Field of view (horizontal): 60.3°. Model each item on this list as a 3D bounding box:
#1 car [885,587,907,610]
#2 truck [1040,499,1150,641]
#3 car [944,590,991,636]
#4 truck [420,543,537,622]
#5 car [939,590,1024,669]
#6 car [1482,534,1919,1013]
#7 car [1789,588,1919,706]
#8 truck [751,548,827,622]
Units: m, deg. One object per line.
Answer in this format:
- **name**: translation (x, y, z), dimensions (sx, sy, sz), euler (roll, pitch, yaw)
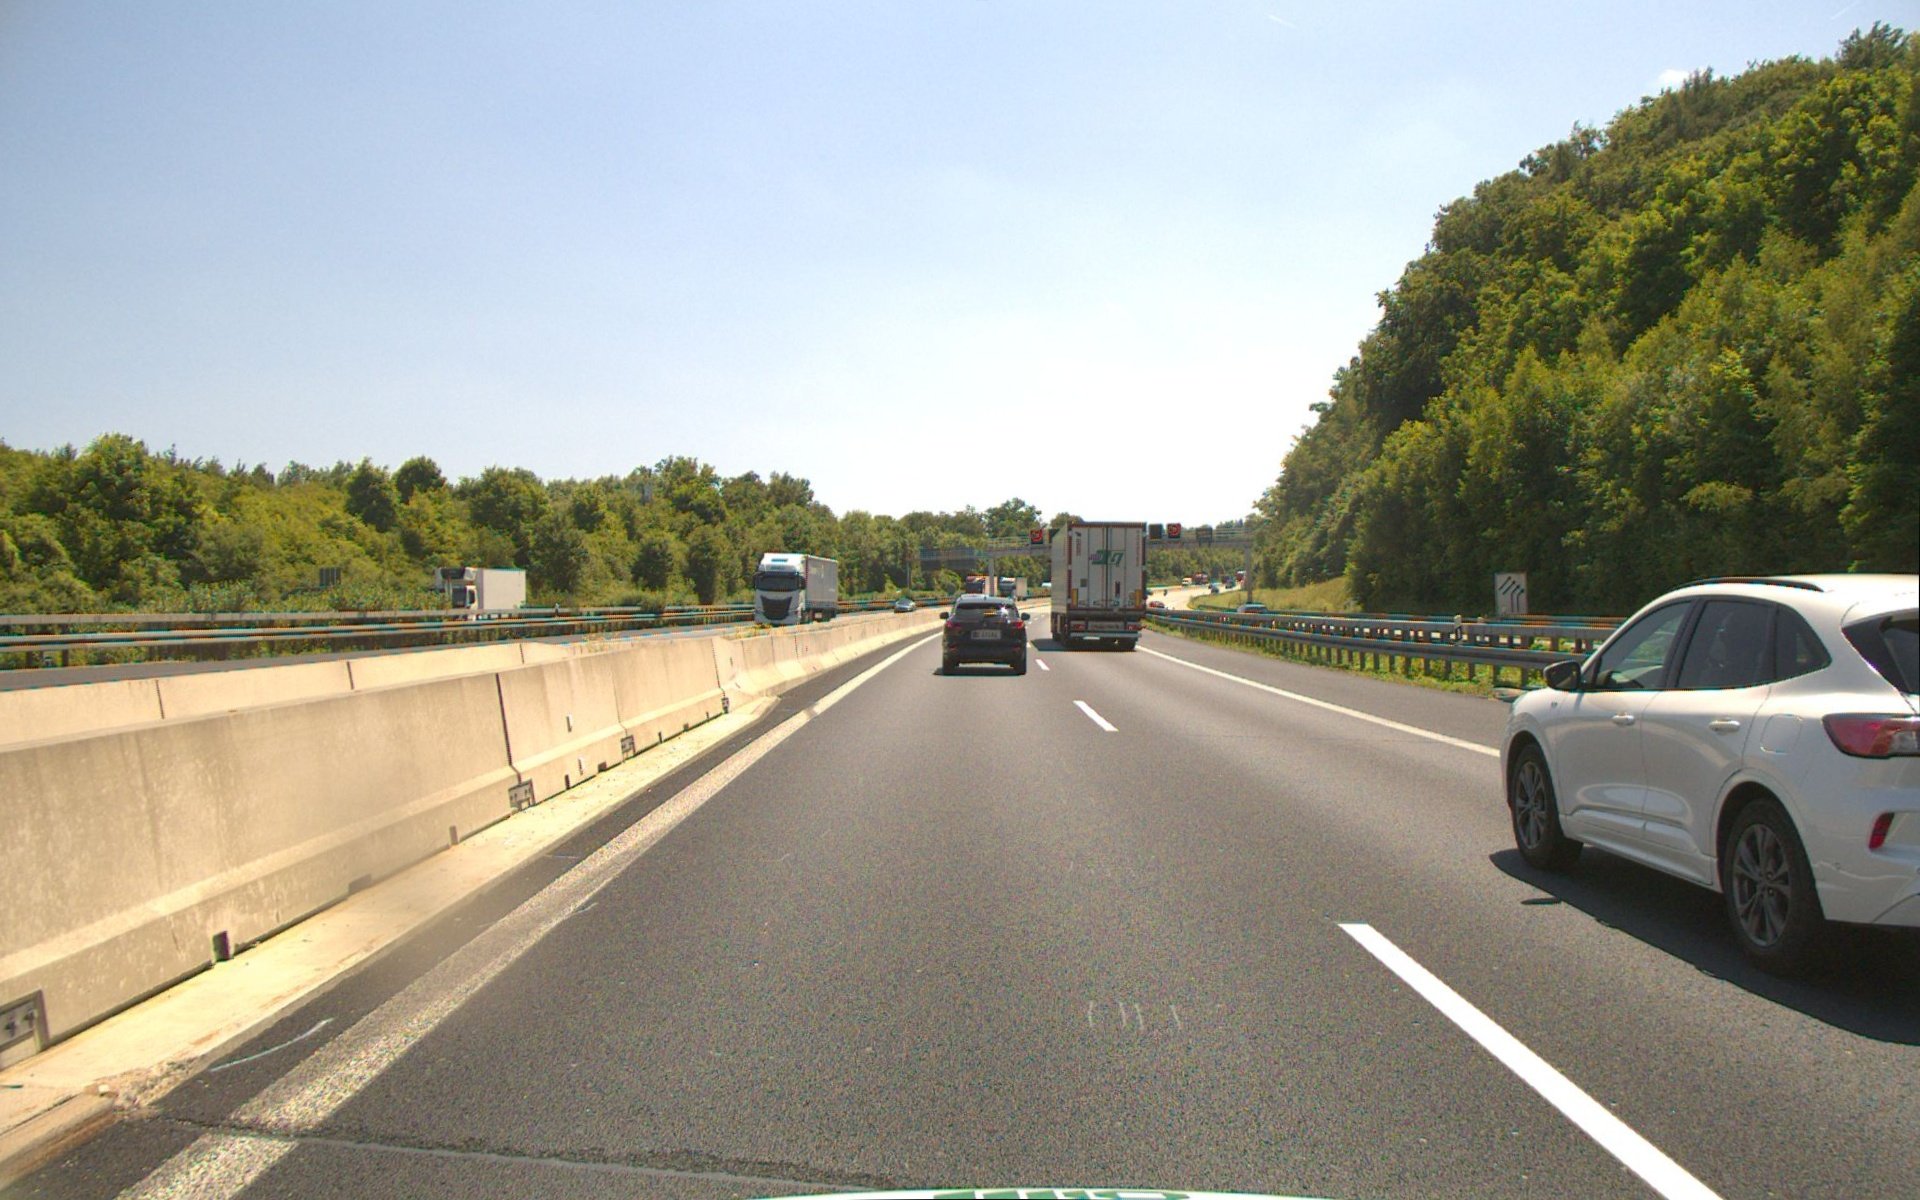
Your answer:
- **car**: translation (-5.923, -0.125, 153.018), dimensions (1.954, 2.049, 3.997), euler (0, 0, -3)
- **truck**: translation (4.569, -0.862, 58.379), dimensions (2.970, 4.496, 12.017), euler (0, -1, 0)
- **car**: translation (0.320, 0.604, 79.796), dimensions (1.954, 2.048, 3.998), euler (-3, 0, -3)
- **truck**: translation (-26.165, -0.831, 90.508), dimensions (2.641, 4.029, 10.781), euler (0, -1, 3)
- **car**: translation (0.474, 0.626, 35.720), dimensions (1.742, 1.605, 4.000), euler (0, -1, 1)
- **car**: translation (4.285, 0.642, 8.113), dimensions (1.953, 1.691, 4.466), euler (0, -1, -1)
- **car**: translation (14.752, 0.684, 24.446), dimensions (1.954, 1.691, 5.623), euler (0, -1, -3)
- **truck**: translation (-9.751, -0.770, 95.612), dimensions (2.641, 4.029, 10.781), euler (0, -1, 3)
